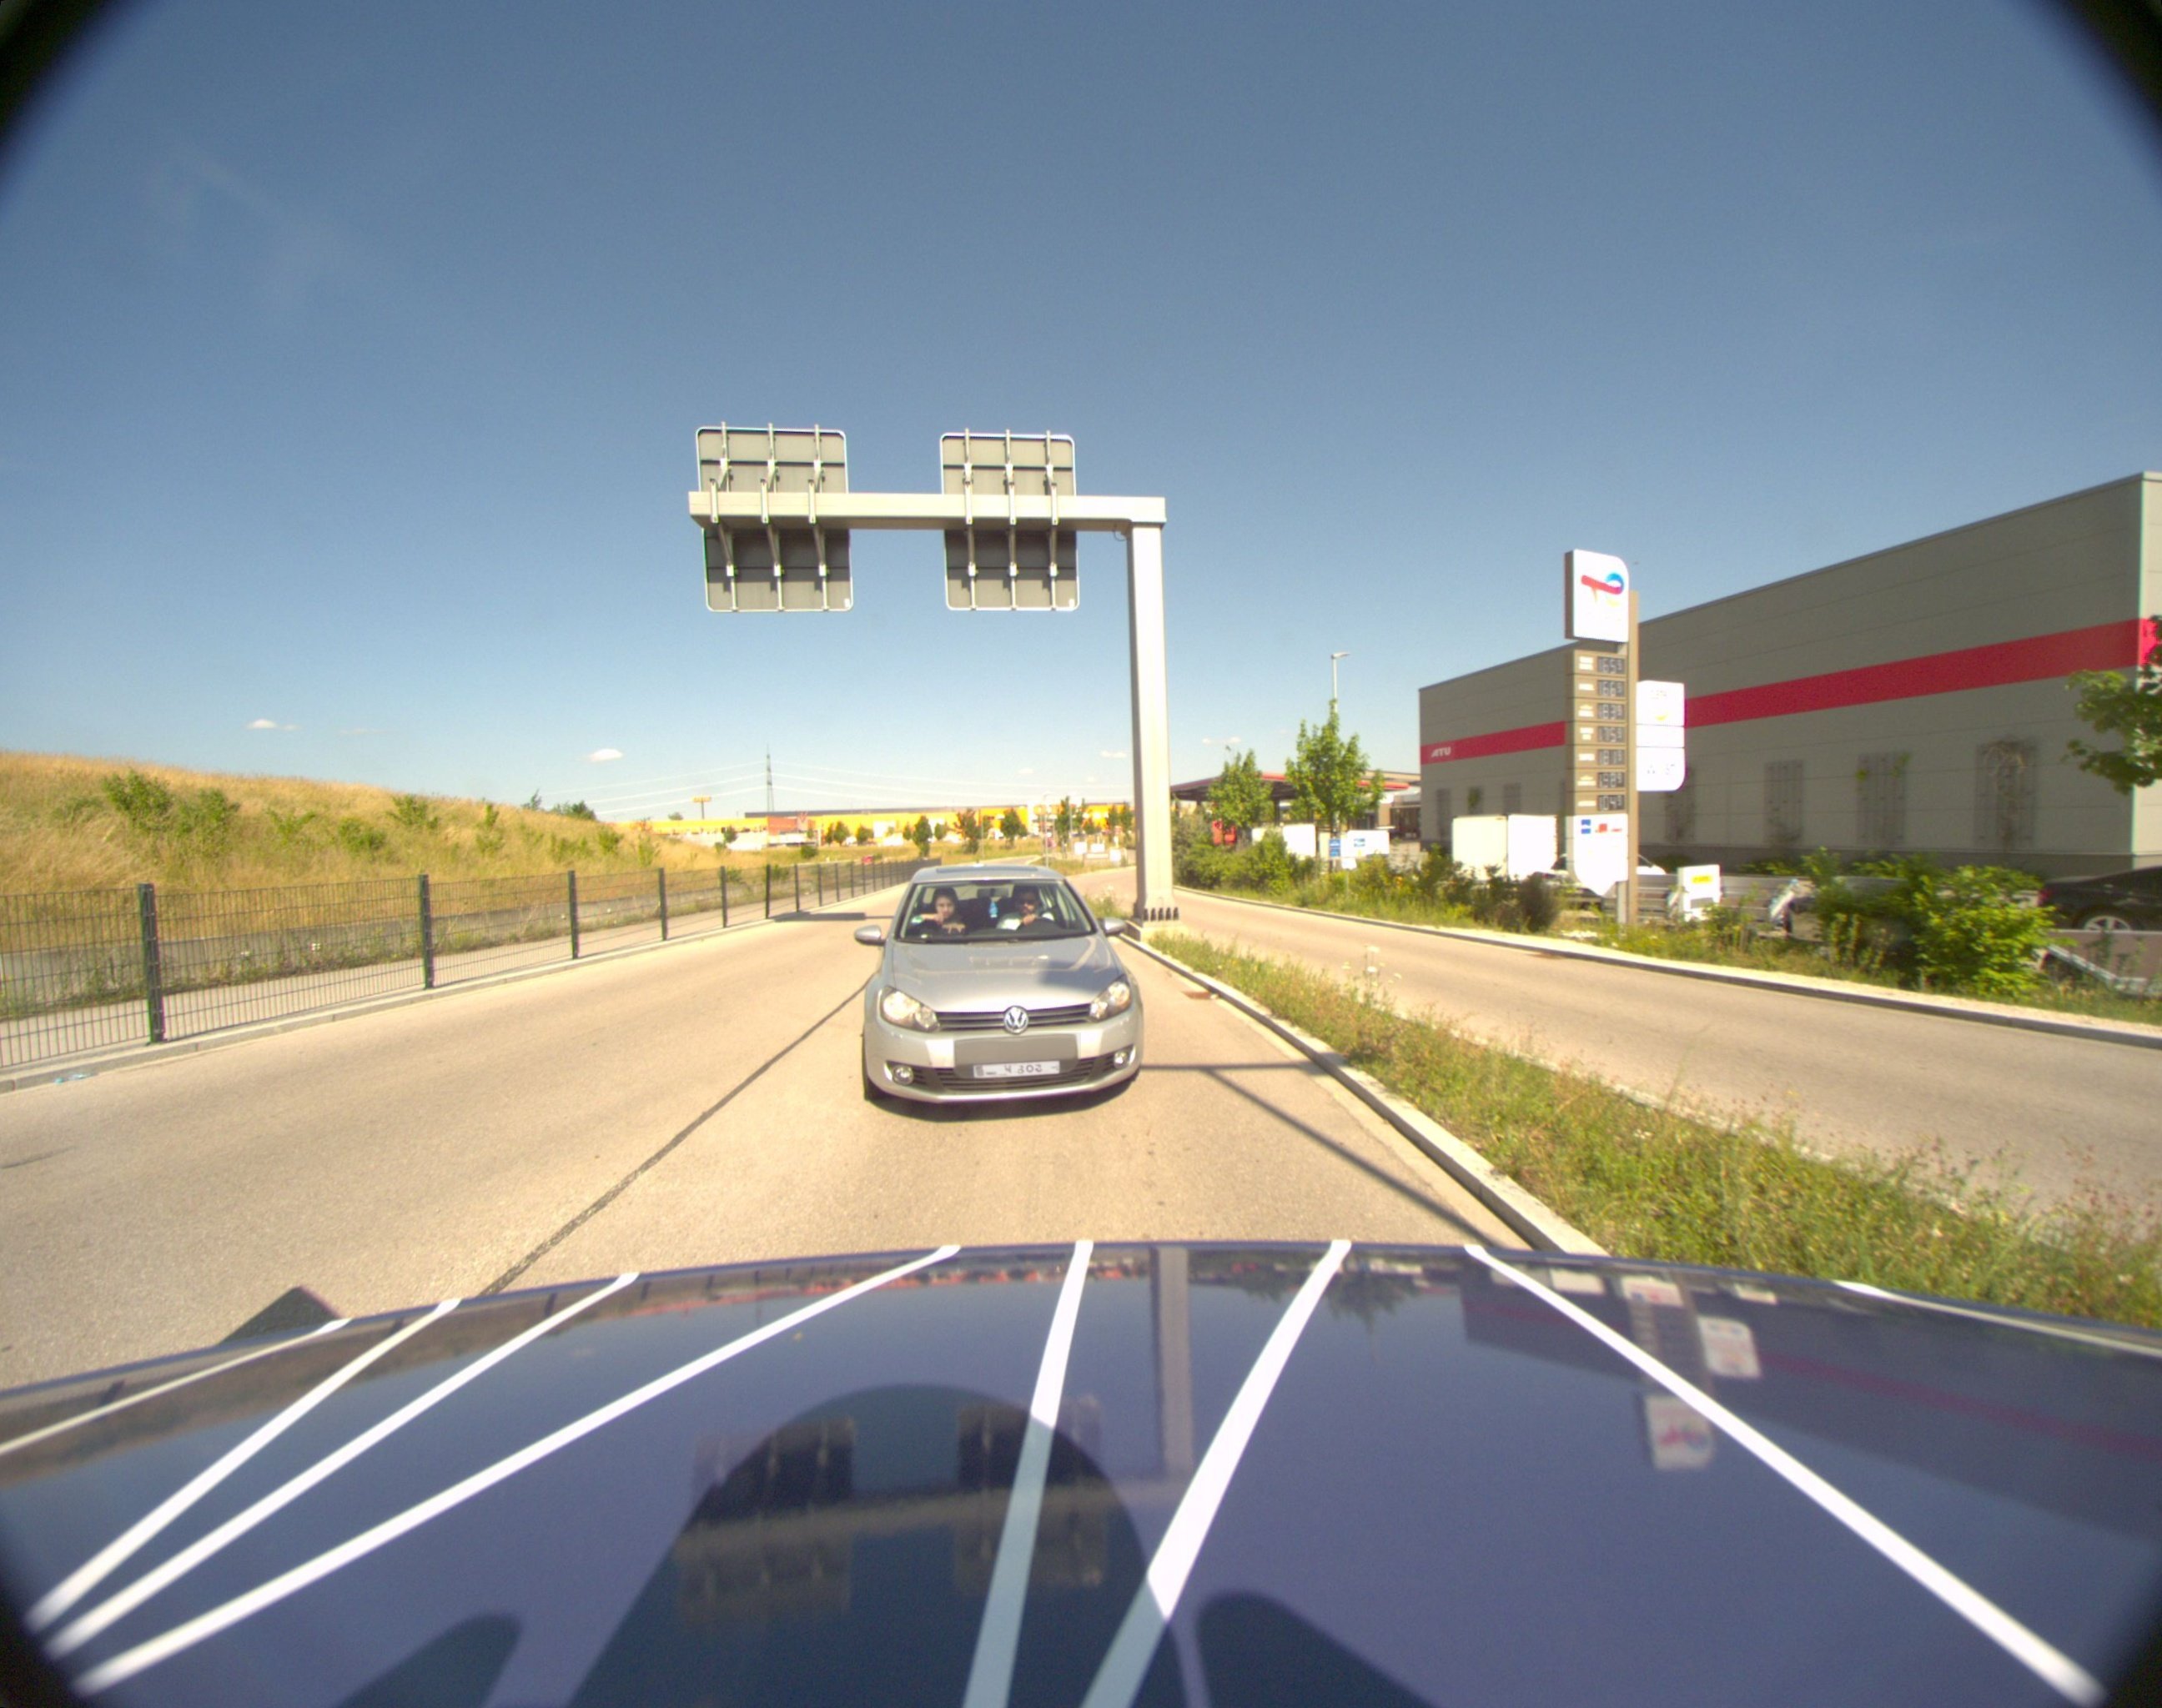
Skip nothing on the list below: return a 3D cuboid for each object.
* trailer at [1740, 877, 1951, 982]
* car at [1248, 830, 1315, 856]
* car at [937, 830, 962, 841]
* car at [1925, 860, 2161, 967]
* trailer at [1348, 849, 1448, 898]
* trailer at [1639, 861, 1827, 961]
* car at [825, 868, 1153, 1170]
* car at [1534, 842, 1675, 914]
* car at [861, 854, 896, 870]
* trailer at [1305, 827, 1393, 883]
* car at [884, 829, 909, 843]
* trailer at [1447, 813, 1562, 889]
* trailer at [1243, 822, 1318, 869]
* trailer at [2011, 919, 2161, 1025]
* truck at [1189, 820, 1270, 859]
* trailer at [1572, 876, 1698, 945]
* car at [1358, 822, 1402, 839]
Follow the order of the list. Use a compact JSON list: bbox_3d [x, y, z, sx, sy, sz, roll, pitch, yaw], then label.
[{"bbox_3d":[12.325,1.133,12.251,2.915,1.314,1.387,-3,2,-22],"label":"trailer"},{"bbox_3d":[15.185,-0.848,57.647,4.522,1.748,1.794,-3,2,-11],"label":"car"},{"bbox_3d":[-26.229,-3.753,151.410,4.637,2.002,1.998,-3,2,-11],"label":"car"},{"bbox_3d":[17.029,0.910,12.165,1.803,1.475,4.494,-3,1,-6],"label":"car"},{"bbox_3d":[11.565,0.676,27.682,3.605,1.502,1.596,-4,1,-34],"label":"trailer"},{"bbox_3d":[12.010,0.960,13.985,3.195,1.475,1.545,-3,2,-28],"label":"trailer"},{"bbox_3d":[-0.734,0.905,6.059,1.747,1.459,3.957,0,1,-8],"label":"car"},{"bbox_3d":[13.563,0.544,19.618,4.006,1.527,1.714,-4,2,-36],"label":"car"},{"bbox_3d":[-28.656,1.132,107.804,4.637,2.002,1.997,-3,2,-12],"label":"car"},{"bbox_3d":[10.618,0.018,30.123,2.741,2.002,1.995,-4,2,-34],"label":"trailer"},{"bbox_3d":[-36.366,-3.640,149.862,4.637,2.534,1.998,-3,2,-11],"label":"car"},{"bbox_3d":[12.330,-0.122,22.089,3.245,2.002,1.743,-4,2,-38],"label":"trailer"},{"bbox_3d":[9.314,-0.403,35.345,1.994,2.002,3.212,-1,2,44],"label":"trailer"},{"bbox_3d":[13.428,1.464,9.757,2.842,0.877,1.861,-4,2,-39],"label":"trailer"},{"bbox_3d":[13.970,-1.393,71.465,6.908,3.300,2.638,-3,2,-13],"label":"truck"},{"bbox_3d":[11.365,1.099,15.560,2.780,1.080,1.317,-4,2,-37],"label":"trailer"},{"bbox_3d":[29.296,-2.293,74.517,3.683,1.566,1.695,-3,2,0],"label":"car"}]
